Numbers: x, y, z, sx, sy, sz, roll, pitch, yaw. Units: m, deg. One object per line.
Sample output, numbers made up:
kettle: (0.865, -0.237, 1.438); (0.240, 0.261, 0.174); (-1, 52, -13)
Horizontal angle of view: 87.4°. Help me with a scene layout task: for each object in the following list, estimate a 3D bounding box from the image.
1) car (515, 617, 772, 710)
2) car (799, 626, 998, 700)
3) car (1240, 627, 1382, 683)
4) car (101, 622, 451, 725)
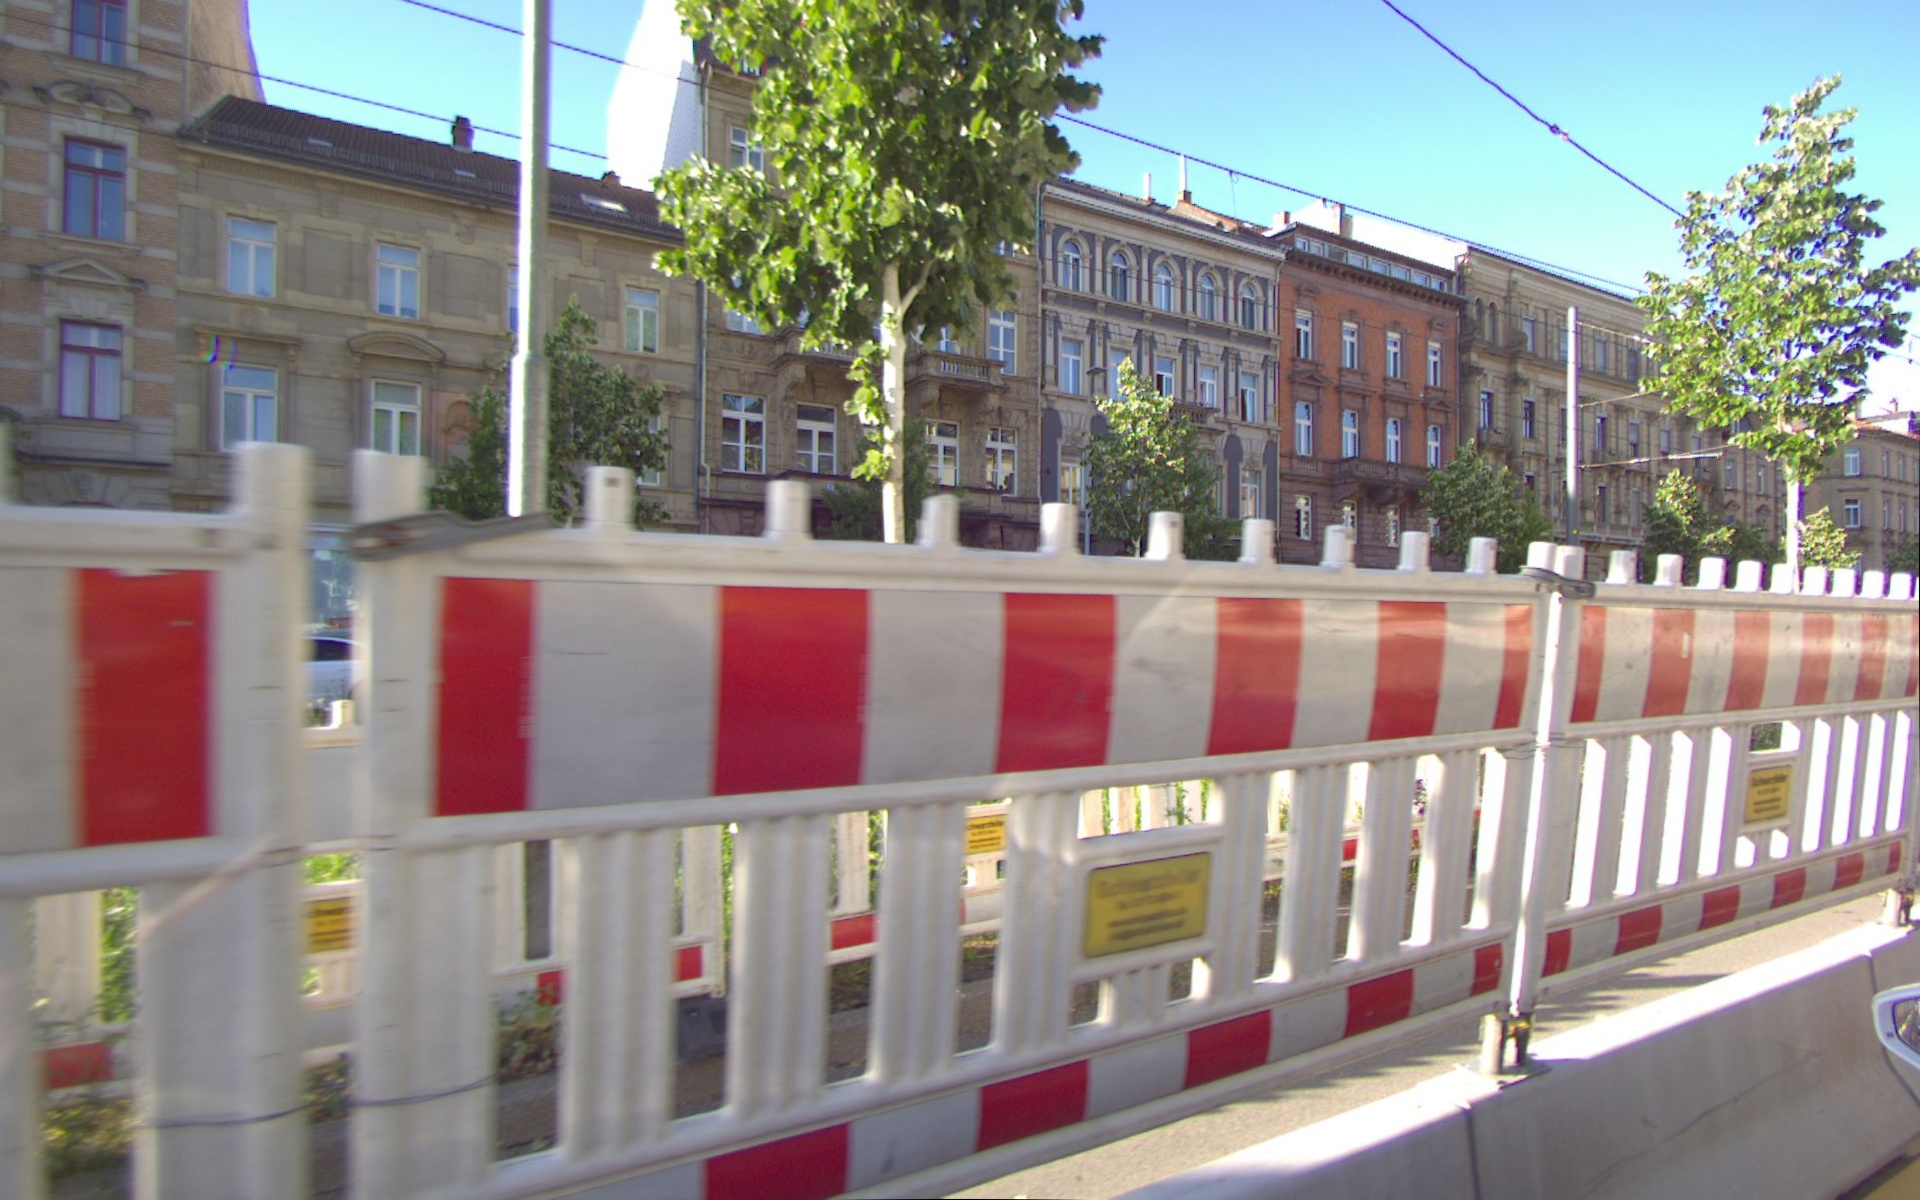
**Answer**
car: (-6.615, 1.270, 21.173); (4.833, 1.720, 1.983); (1, 0, -31)
car: (-1.452, 1.475, 24.261); (4.399, 1.573, 1.983); (1, 0, -31)
car: (11.614, 1.781, 33.212); (4.489, 1.680, 1.930); (1, 0, -29)
car: (-11.974, 1.241, 18.051); (4.926, 1.558, 1.984); (1, 0, -31)
